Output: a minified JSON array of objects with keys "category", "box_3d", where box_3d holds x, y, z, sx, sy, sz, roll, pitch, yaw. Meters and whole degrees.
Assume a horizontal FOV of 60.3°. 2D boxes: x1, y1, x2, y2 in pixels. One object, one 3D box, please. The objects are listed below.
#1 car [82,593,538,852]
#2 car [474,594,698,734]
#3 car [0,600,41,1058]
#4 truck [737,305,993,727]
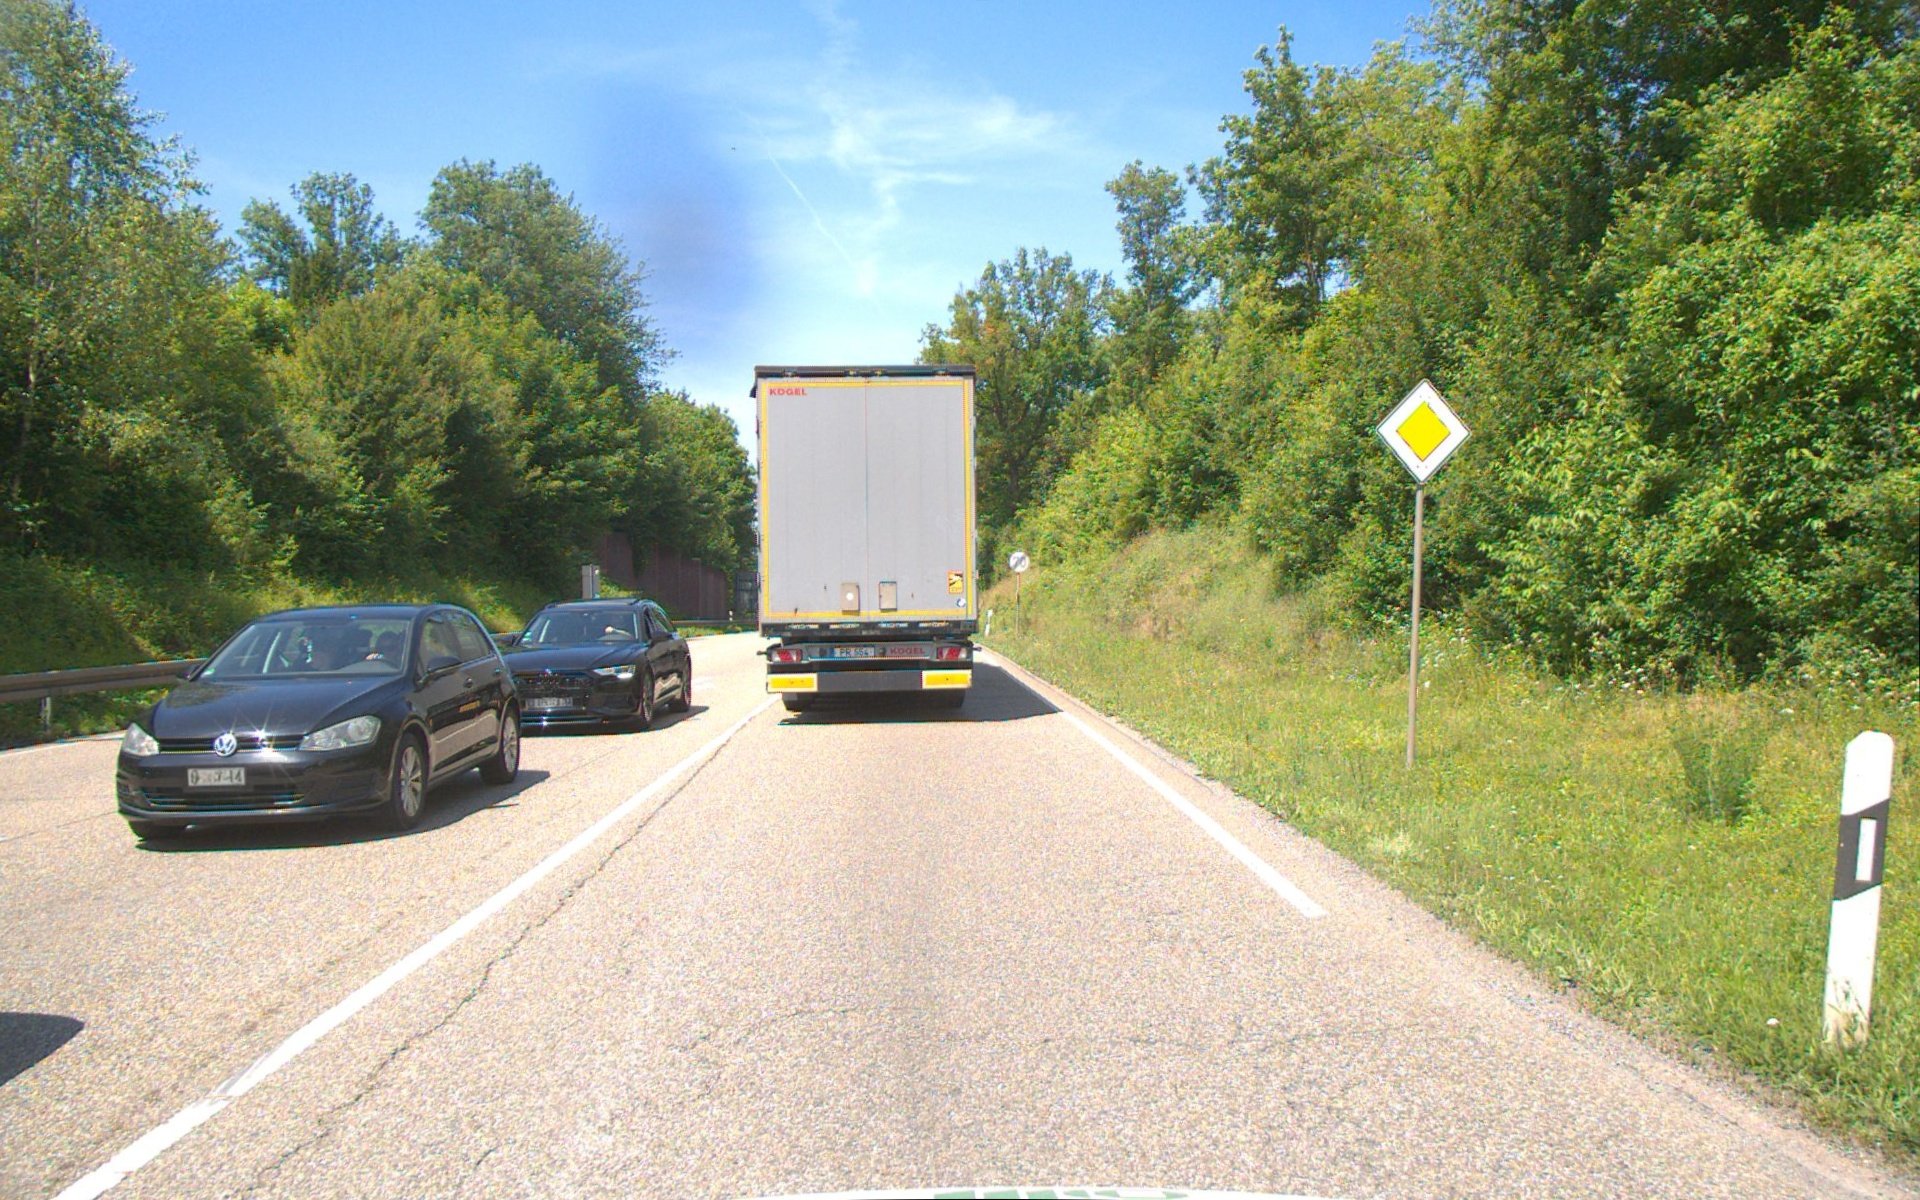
[{"category":"car","box_3d":[-4.328,0.703,11.753,1.648,1.439,4.180,-1,1,-2]},{"category":"car","box_3d":[-4.366,0.682,19.975,1.767,1.478,4.385,-1,0,-1]},{"category":"car","box_3d":[-3.883,0.776,3.215,1.746,1.472,4.638,-1,1,-3]},{"category":"truck","box_3d":[-1.221,-0.982,21.908,2.766,4.684,6.661,-1,0,-3]}]
